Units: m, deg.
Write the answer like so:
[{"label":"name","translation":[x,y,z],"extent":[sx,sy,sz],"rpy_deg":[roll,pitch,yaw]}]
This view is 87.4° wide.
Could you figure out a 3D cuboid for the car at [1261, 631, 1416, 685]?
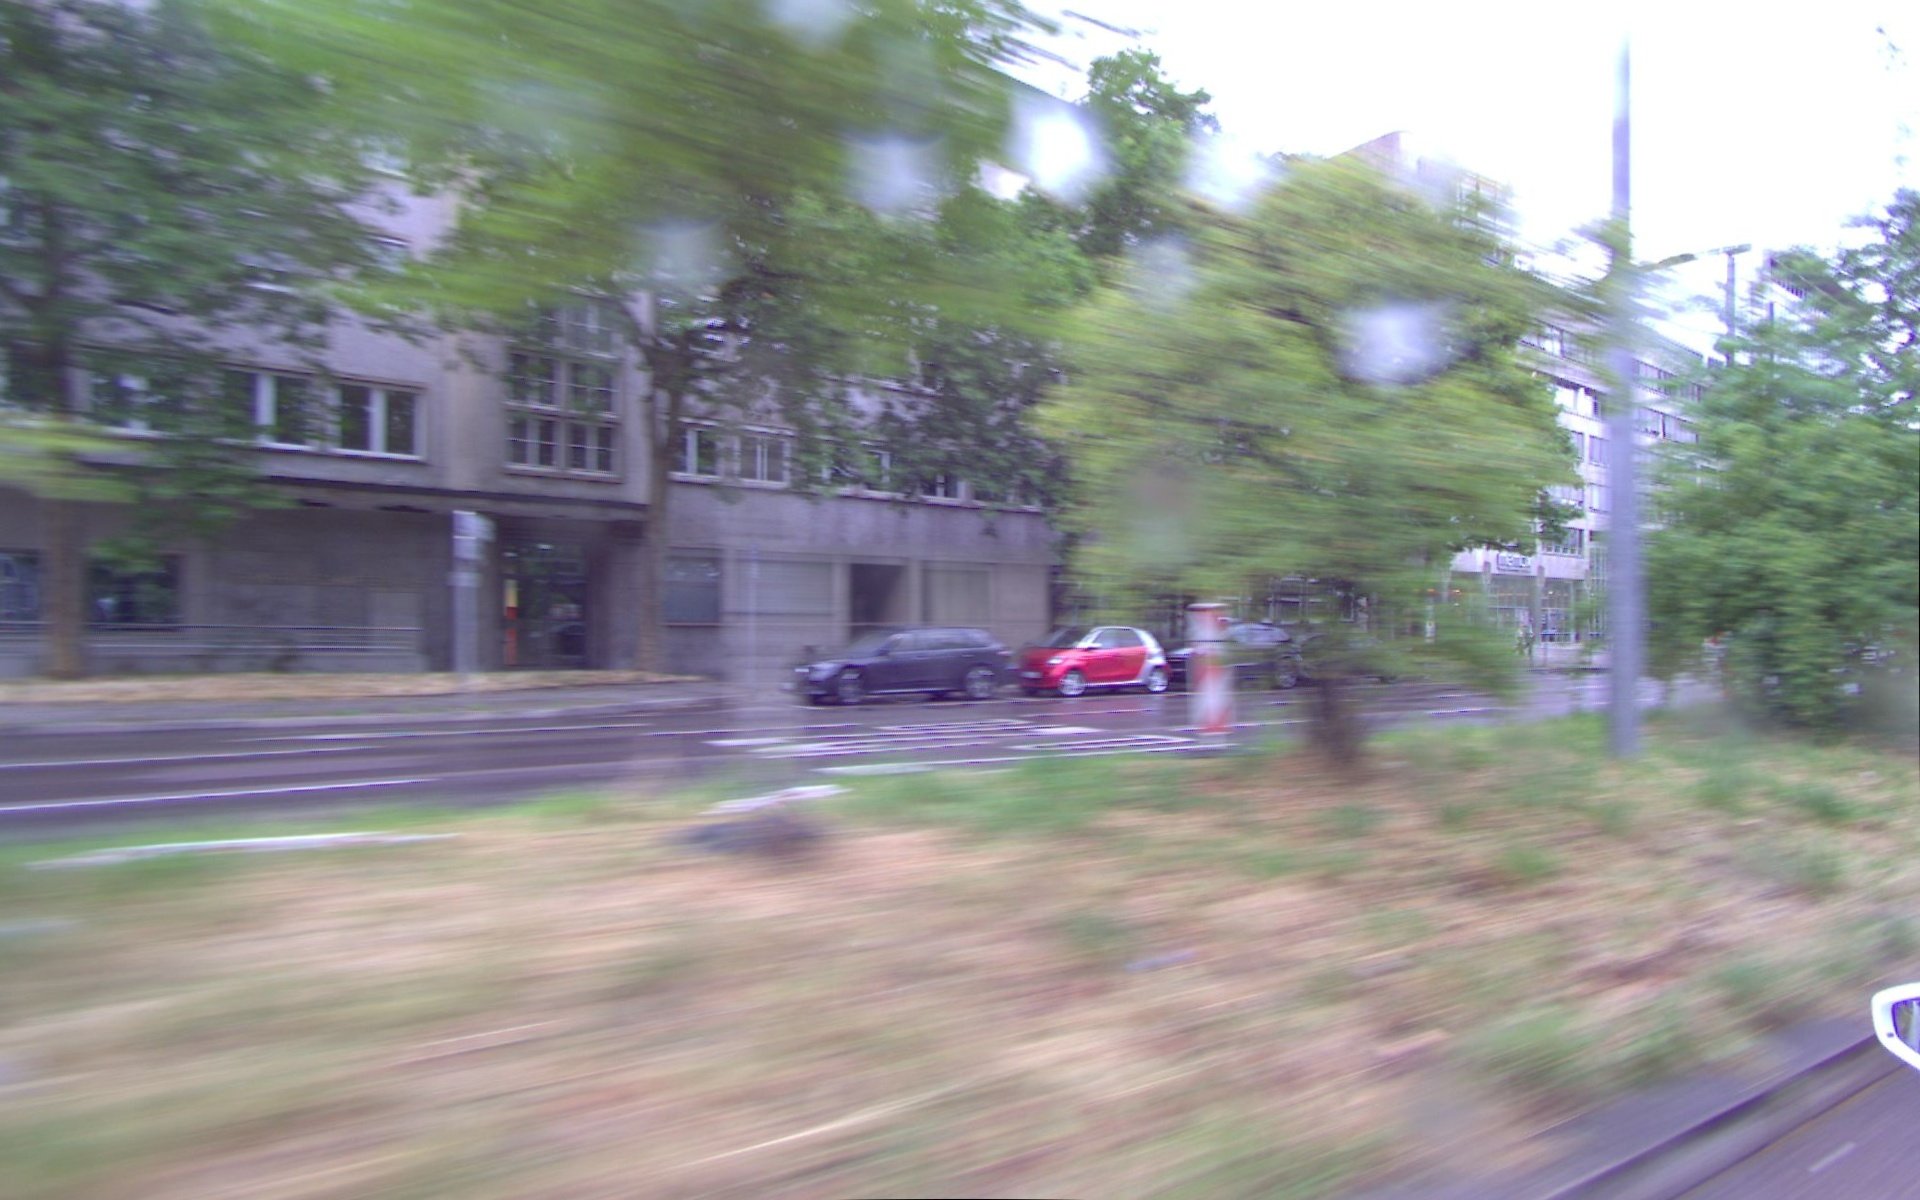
[{"label":"car","translation":[10.835,1.647,28.646],"extent":[4.606,1.412,1.758],"rpy_deg":[2,-4,-34]}]

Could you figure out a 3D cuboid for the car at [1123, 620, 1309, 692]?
[{"label":"car","translation":[6.509,1.406,25.370],"extent":[4.791,1.674,1.759],"rpy_deg":[2,-4,-33]}]

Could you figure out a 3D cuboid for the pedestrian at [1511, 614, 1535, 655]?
[{"label":"pedestrian","translation":[27.577,1.685,49.185],"extent":[0.670,1.944,0.837],"rpy_deg":[1,-1,-33]}]

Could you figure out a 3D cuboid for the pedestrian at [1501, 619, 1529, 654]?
[{"label":"pedestrian","translation":[26.894,1.782,48.656],"extent":[0.670,1.667,0.988],"rpy_deg":[1,-1,-33]}]

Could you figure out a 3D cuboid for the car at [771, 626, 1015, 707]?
[{"label":"car","translation":[-1.290,1.306,20.095],"extent":[4.621,1.453,1.759],"rpy_deg":[2,-4,-33]}]

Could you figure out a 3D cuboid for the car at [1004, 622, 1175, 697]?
[{"label":"car","translation":[2.928,1.328,22.549],"extent":[3.588,1.539,1.677],"rpy_deg":[2,-4,-34]}]
